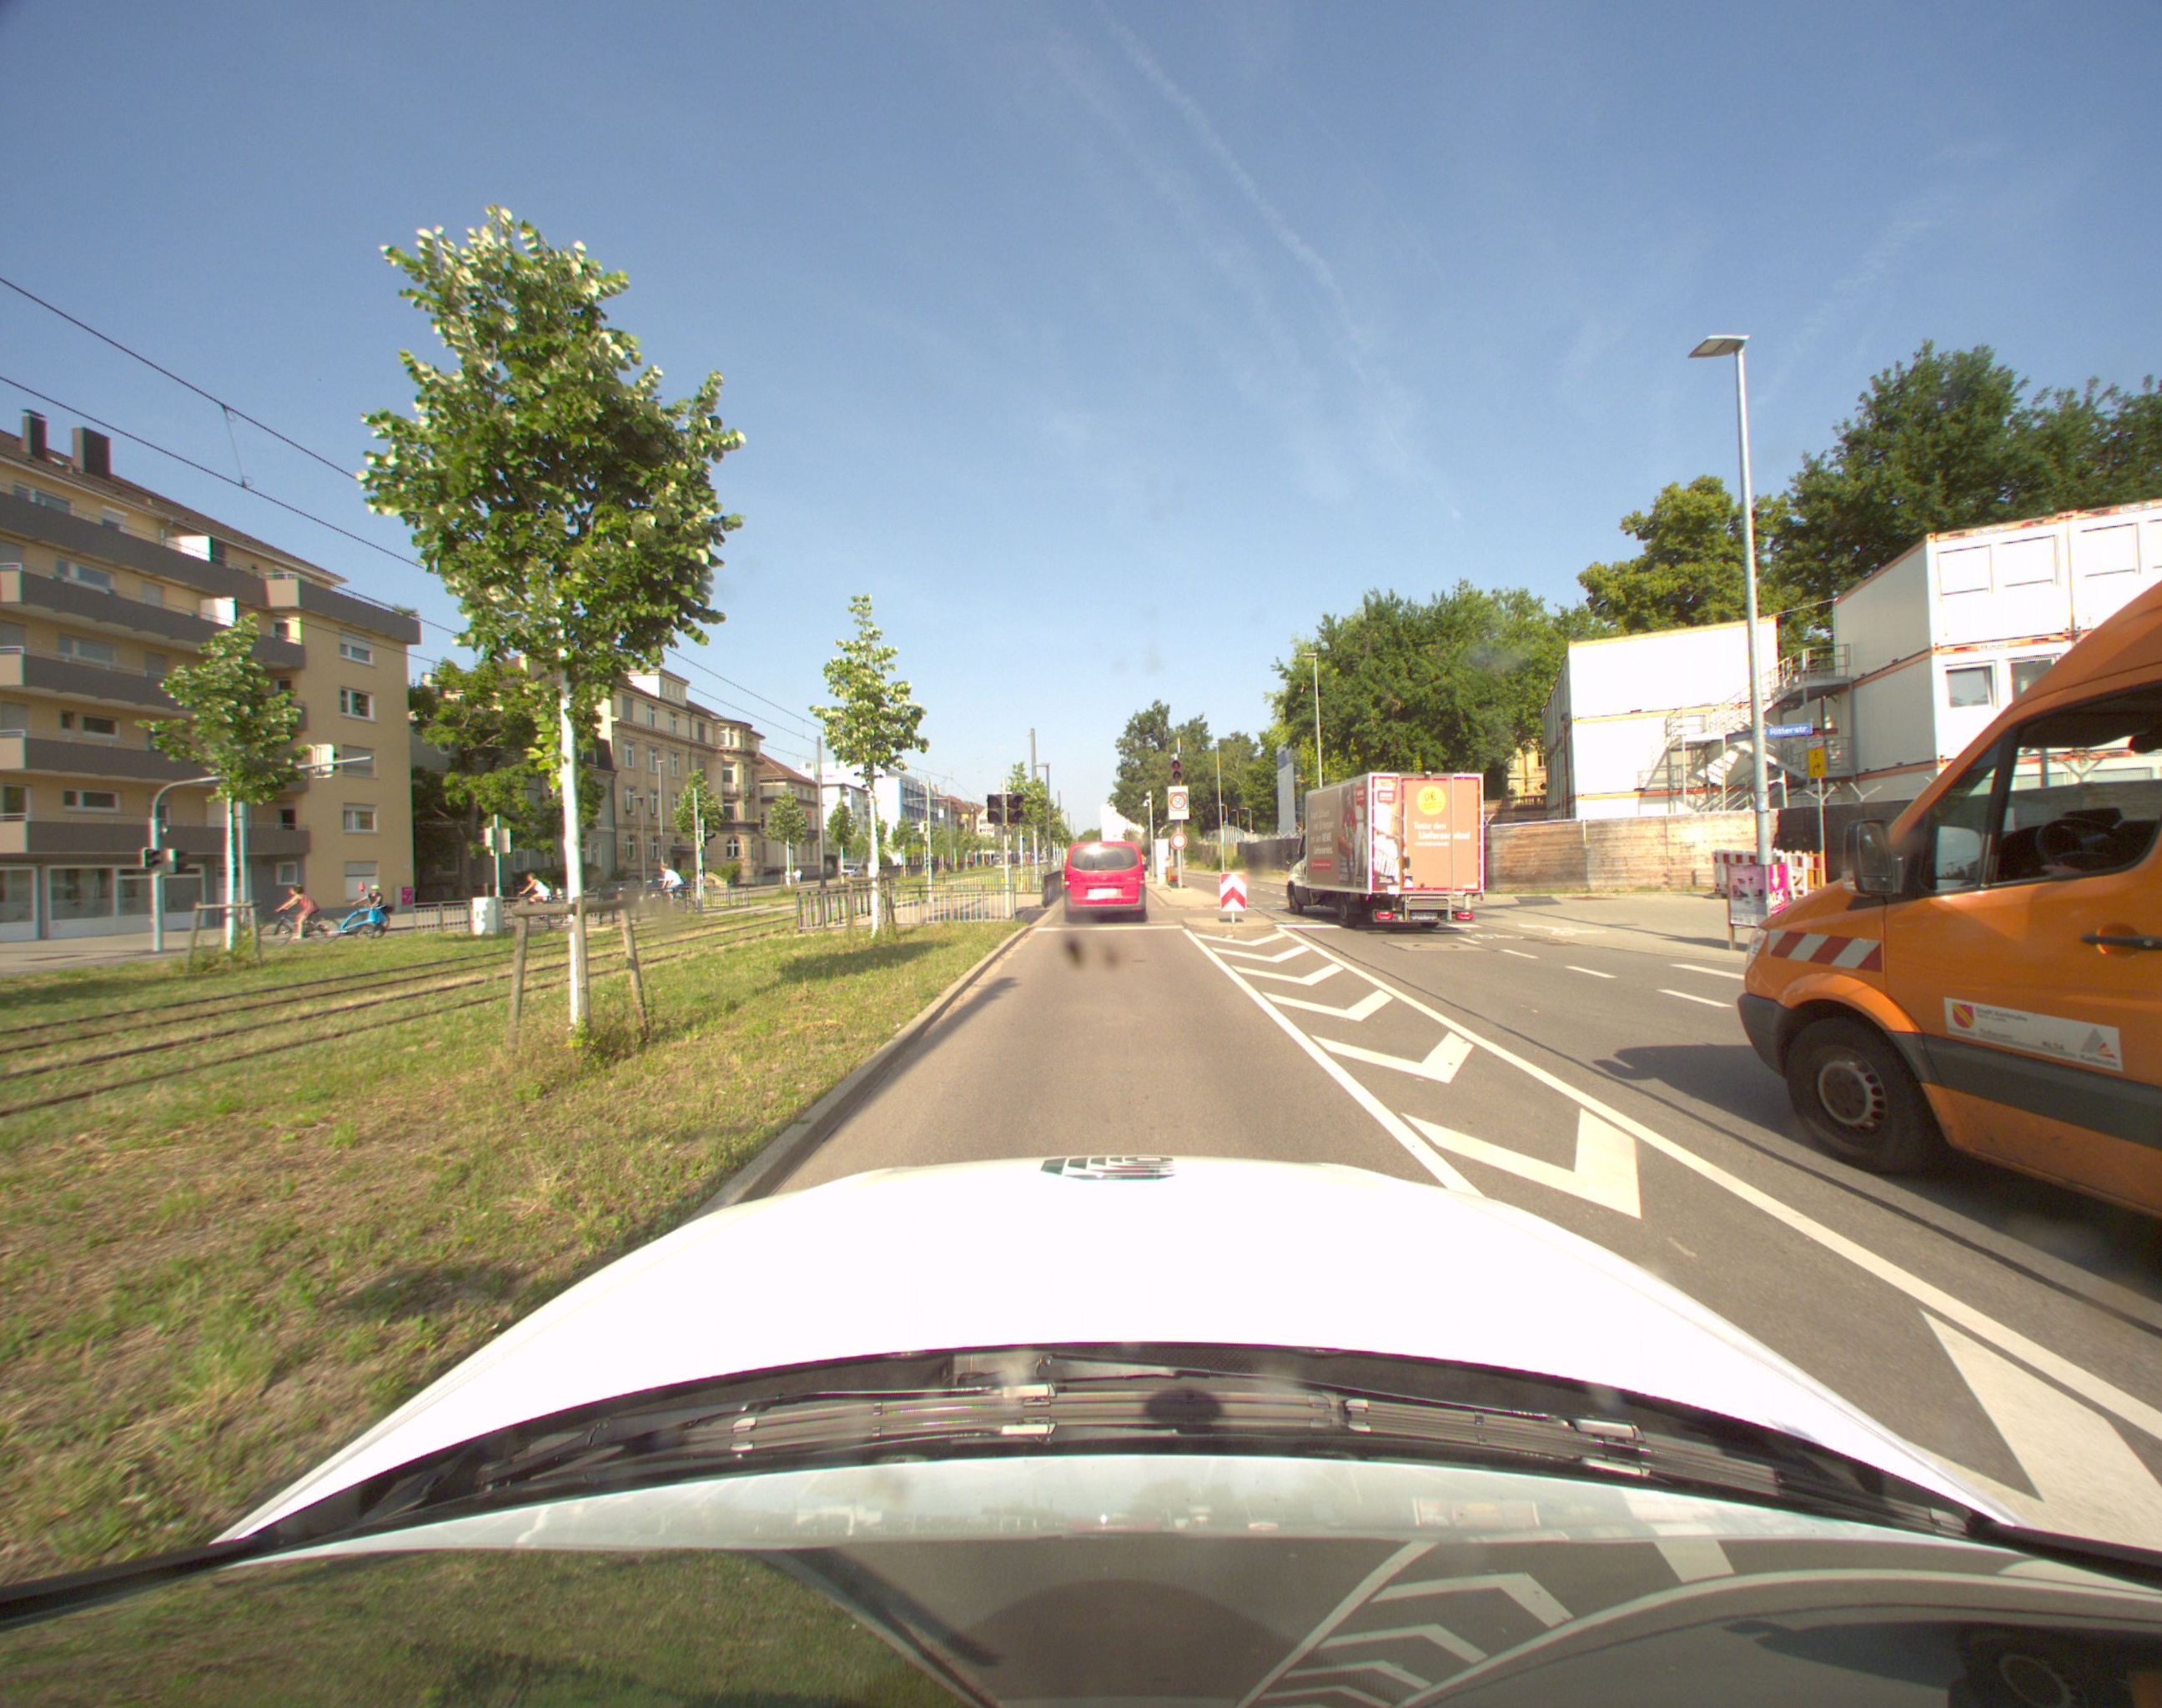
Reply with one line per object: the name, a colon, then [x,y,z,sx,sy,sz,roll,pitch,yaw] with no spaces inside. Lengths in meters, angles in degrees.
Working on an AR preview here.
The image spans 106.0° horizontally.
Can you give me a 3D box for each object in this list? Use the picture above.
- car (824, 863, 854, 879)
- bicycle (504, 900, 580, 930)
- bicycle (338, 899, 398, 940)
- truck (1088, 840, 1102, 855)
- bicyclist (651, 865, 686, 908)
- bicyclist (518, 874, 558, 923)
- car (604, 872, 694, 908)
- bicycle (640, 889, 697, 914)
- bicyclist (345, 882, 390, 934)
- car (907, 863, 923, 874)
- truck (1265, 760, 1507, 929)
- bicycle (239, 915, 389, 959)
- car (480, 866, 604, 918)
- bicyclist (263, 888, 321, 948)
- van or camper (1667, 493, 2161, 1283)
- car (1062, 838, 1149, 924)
car: [-30.624,2.188,103.258,2.243,2.014,5.260,0,-2,-1]
bicycle: [-17.299,1.944,26.186,2.010,0.793,0.623,-2,0,-32]
bicycle: [-25.922,2.352,29.655,0.693,1.346,1.755,-2,-1,-4]
truck: [3.547,-1.592,210.991,3.380,3.726,10.449,-2,0,0]
bicyclist: [-14.203,1.114,28.050,0.679,1.440,0.811,-4,-3,29]
bicyclist: [-17.410,1.427,26.132,0.990,1.500,0.614,-2,0,-31]
car: [-20.744,1.683,39.346,1.988,1.513,4.396,-2,0,-1]
bicycle: [-14.187,1.628,28.064,0.711,0.798,1.613,0,-1,29]
bicyclist: [-25.921,1.958,29.593,0.668,1.805,1.082,-2,-1,-4]
car: [-24.704,2.121,121.322,1.514,1.464,3.823,-3,1,-1]
truck: [6.400,-0.122,18.617,2.495,3.061,7.816,0,-1,-1]
bicycle: [-21.978,2.355,23.433,3.001,0.965,0.893,-2,-1,-24]
car: [-23.779,1.593,36.208,1.988,2.014,5.300,-2,0,-1]
bicyclist: [-22.482,1.808,23.239,0.894,1.628,0.885,-2,-1,-23]
van or camper: [4.310,0.093,1.822,1.977,2.472,6.069,-2,0,5]
car: [0.602,0.593,19.720,1.894,1.859,4.002,0,0,2]
